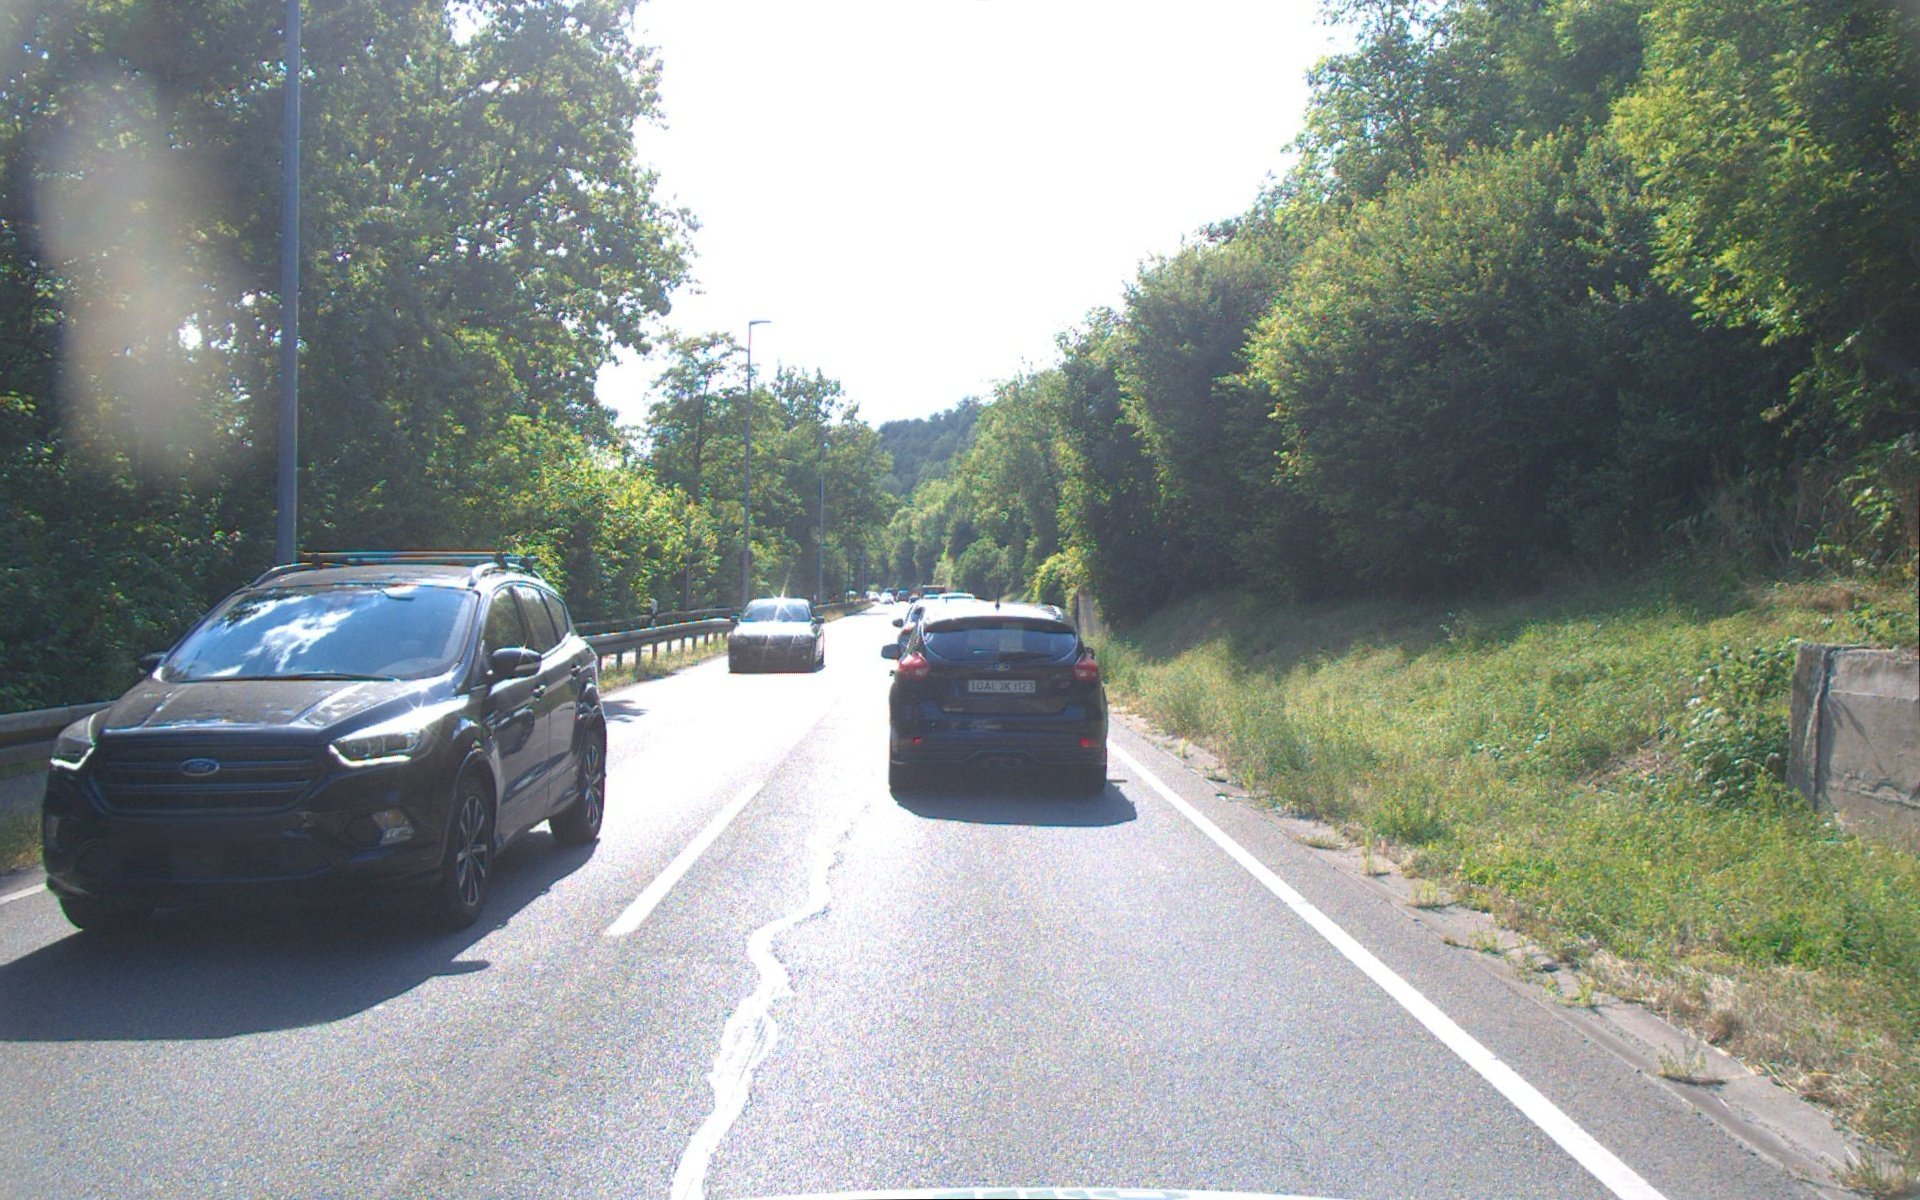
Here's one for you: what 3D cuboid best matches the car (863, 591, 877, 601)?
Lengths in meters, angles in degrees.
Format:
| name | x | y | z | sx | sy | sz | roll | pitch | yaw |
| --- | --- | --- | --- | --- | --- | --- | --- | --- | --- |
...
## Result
| name | x | y | z | sx | sy | sz | roll | pitch | yaw |
| --- | --- | --- | --- | --- | --- | --- | --- | --- | --- |
| car | -13.092 | -0.545 | 240.916 | 1.650 | 1.489 | 4.190 | 0 | 0 | -8 |

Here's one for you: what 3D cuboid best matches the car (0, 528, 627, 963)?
| name | x | y | z | sx | sy | sz | roll | pitch | yaw |
| --- | --- | --- | --- | --- | --- | --- | --- | --- | --- |
| car | -3.036 | 0.579 | 8.788 | 1.712 | 1.747 | 4.220 | 0 | 0 | -1 |

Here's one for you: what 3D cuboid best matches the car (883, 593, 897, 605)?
| name | x | y | z | sx | sy | sz | roll | pitch | yaw |
| --- | --- | --- | --- | --- | --- | --- | --- | --- | --- |
| car | -8.693 | -0.135 | 205.501 | 1.590 | 1.401 | 4.046 | -2 | 0 | -1 |

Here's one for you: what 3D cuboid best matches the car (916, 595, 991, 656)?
| name | x | y | z | sx | sy | sz | roll | pitch | yaw |
| --- | --- | --- | --- | --- | --- | --- | --- | --- | --- |
| car | -0.180 | 0.597 | 40.908 | 1.768 | 1.416 | 3.999 | 0 | 0 | -1 |

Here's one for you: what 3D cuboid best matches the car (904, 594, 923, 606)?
| name | x | y | z | sx | sy | sz | roll | pitch | yaw |
| --- | --- | --- | --- | --- | --- | --- | --- | --- | --- |
| car | -6.022 | 0.041 | 214.779 | 1.956 | 1.545 | 3.993 | 0 | 0 | -8 |

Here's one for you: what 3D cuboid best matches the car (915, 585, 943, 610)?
| name | x | y | z | sx | sy | sz | roll | pitch | yaw |
| --- | --- | --- | --- | --- | --- | --- | --- | --- | --- |
| car | -2.269 | -0.191 | 120.101 | 1.826 | 1.812 | 3.997 | 0 | 0 | -3 |

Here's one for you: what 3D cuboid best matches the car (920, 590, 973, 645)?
| name | x | y | z | sx | sy | sz | roll | pitch | yaw |
| --- | --- | --- | --- | --- | --- | --- | --- | --- | --- |
| car | -0.434 | 0.519 | 51.423 | 1.597 | 1.624 | 3.999 | 0 | 0 | -1 |

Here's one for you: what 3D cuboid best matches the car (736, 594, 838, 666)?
| name | x | y | z | sx | sy | sz | roll | pitch | yaw |
| --- | --- | --- | --- | --- | --- | --- | --- | --- | --- |
| car | -3.639 | 0.596 | 35.369 | 1.657 | 1.445 | 4.142 | 0 | 0 | 1 |

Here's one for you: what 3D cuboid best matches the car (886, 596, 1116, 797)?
| name | x | y | z | sx | sy | sz | roll | pitch | yaw |
| --- | --- | --- | --- | --- | --- | --- | --- | --- | --- |
| car | 0.282 | 0.722 | 14.348 | 1.704 | 1.482 | 3.999 | 1 | 0 | -1 |

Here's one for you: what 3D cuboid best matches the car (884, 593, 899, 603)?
| name | x | y | z | sx | sy | sz | roll | pitch | yaw |
| --- | --- | --- | --- | --- | --- | --- | --- | --- | --- |
| car | -10.371 | -0.270 | 251.121 | 1.956 | 1.545 | 3.993 | 0 | 0 | -8 |

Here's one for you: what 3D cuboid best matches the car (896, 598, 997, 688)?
| name | x | y | z | sx | sy | sz | roll | pitch | yaw |
| --- | --- | --- | --- | --- | --- | --- | --- | --- | --- |
| car | -0.195 | 0.692 | 28.785 | 1.627 | 1.443 | 4.000 | 0 | 0 | 1 |

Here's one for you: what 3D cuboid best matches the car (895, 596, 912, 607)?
| name | x | y | z | sx | sy | sz | roll | pitch | yaw |
| --- | --- | --- | --- | --- | --- | --- | --- | --- | --- |
| car | -8.050 | 0.185 | 235.824 | 1.956 | 1.545 | 3.992 | 0 | 0 | -8 |

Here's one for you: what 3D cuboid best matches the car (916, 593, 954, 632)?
| name | x | y | z | sx | sy | sz | roll | pitch | yaw |
| --- | --- | --- | --- | --- | --- | --- | --- | --- | --- |
| car | -1.071 | 0.508 | 71.269 | 1.597 | 1.624 | 3.999 | 0 | 0 | -1 |
